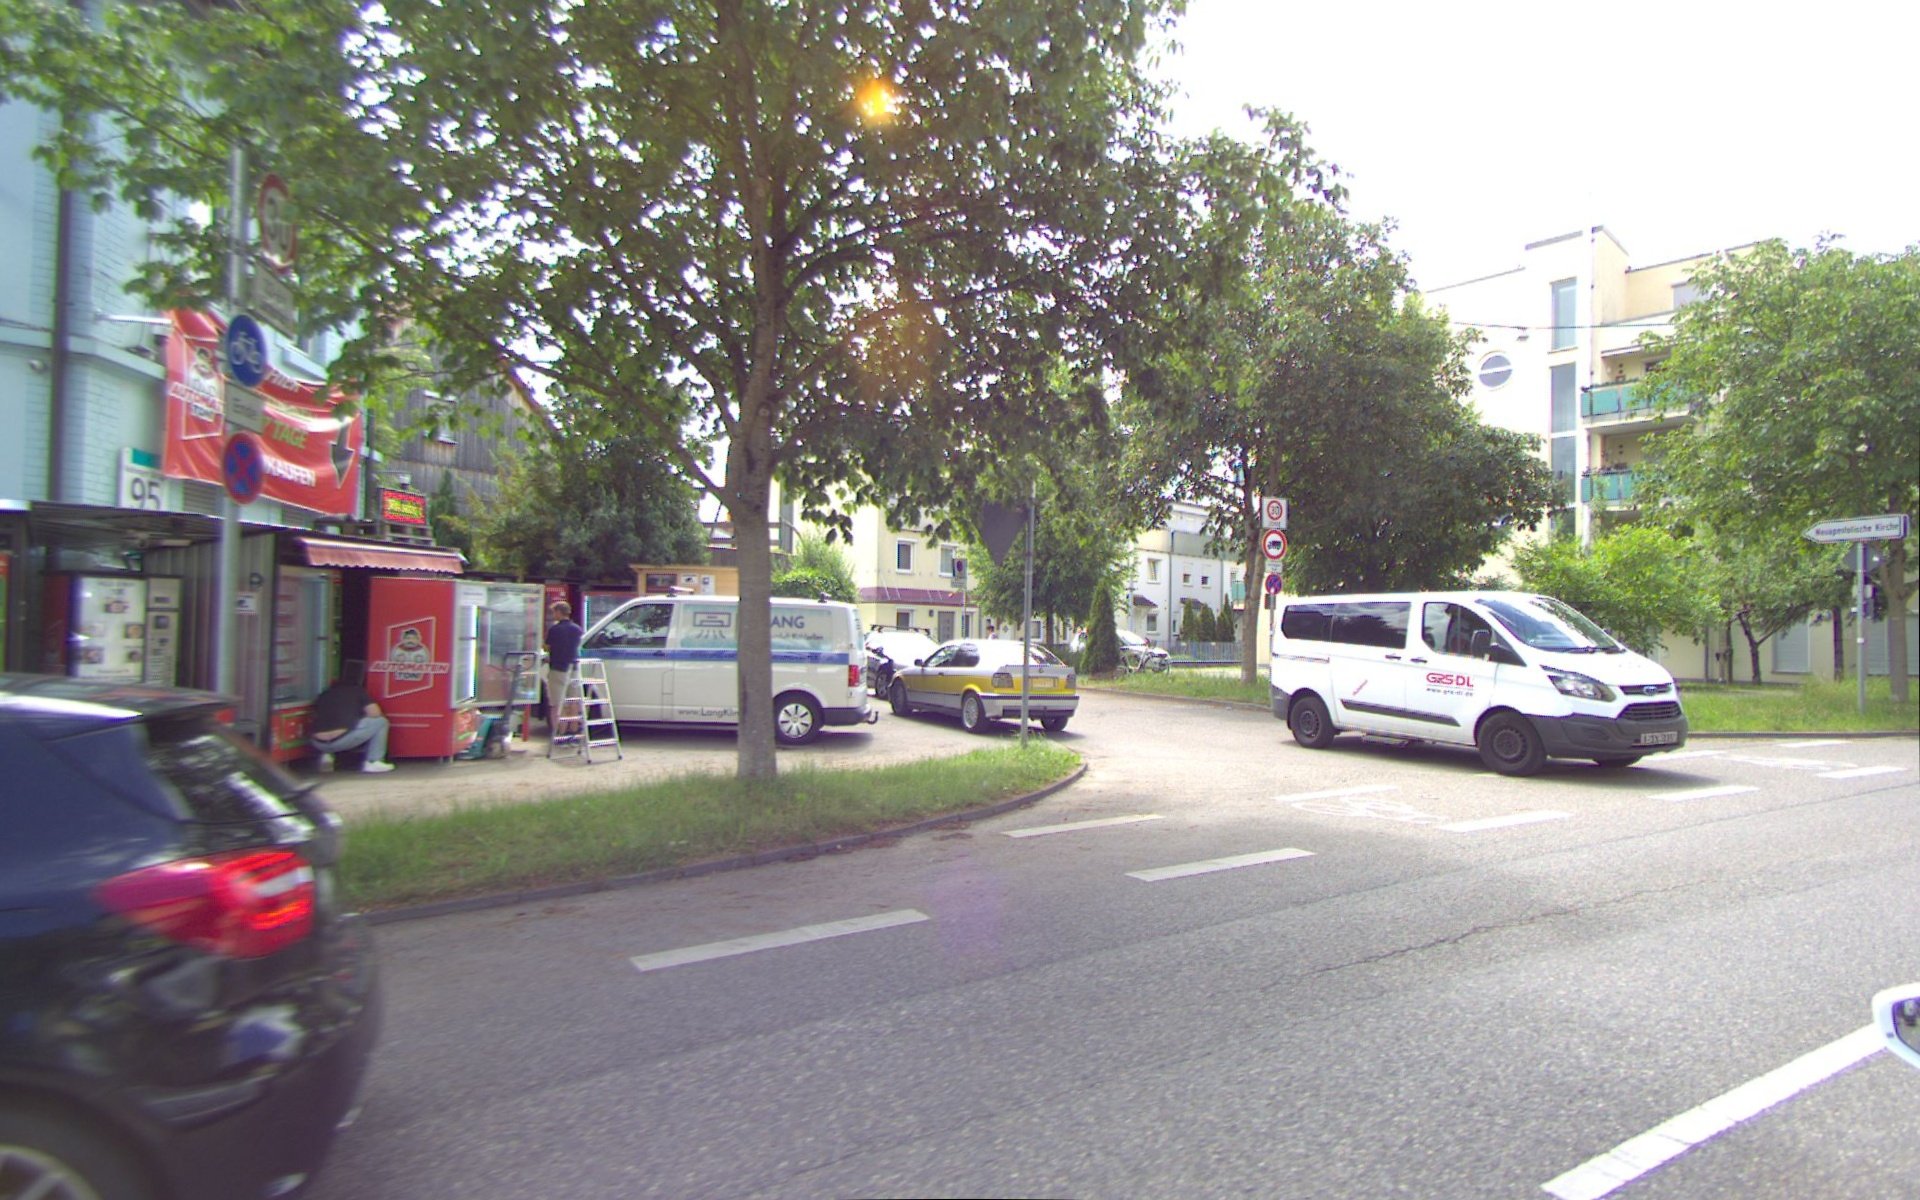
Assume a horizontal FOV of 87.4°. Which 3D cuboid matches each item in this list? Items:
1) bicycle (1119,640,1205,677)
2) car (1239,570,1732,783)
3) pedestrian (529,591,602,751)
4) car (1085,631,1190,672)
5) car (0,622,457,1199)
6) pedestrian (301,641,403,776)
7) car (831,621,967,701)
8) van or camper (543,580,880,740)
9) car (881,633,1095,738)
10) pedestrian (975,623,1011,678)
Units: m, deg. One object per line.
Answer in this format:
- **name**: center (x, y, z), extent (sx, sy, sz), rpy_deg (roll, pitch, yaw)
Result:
- **bicycle**: center (5.345, 1.550, 26.669), extent (2.184, 0.871, 0.463), rpy_deg (1, -1, 27)
- **car**: center (5.991, 0.867, 12.386), extent (2.079, 2.019, 5.201), rpy_deg (0, -3, -24)
- **pedestrian**: center (-4.895, 0.857, 12.473), extent (0.615, 1.921, 0.562), rpy_deg (1, -1, 39)
- **car**: center (6.350, 1.869, 36.123), extent (1.819, 1.415, 3.373), rpy_deg (2, -4, -39)
- **car**: center (-3.284, 0.825, 1.803), extent (4.176, 1.501, 1.680), rpy_deg (1, -5, -30)
- **pedestrian**: center (-6.166, 1.069, 10.193), extent (0.735, 1.289, 0.617), rpy_deg (2, -1, -45)
- **car**: center (-1.457, 1.299, 22.378), extent (1.790, 1.569, 3.981), rpy_deg (3, -2, -22)
- **van or camper**: center (-3.321, 0.823, 14.151), extent (4.296, 2.020, 1.790), rpy_deg (1, -1, -4)
- **car**: center (0.316, 1.311, 16.530), extent (1.793, 1.432, 4.001), rpy_deg (2, -2, -27)
- **pedestrian**: center (1.010, 1.536, 30.839), extent (0.803, 1.616, 0.731), rpy_deg (-4, 1, -26)
